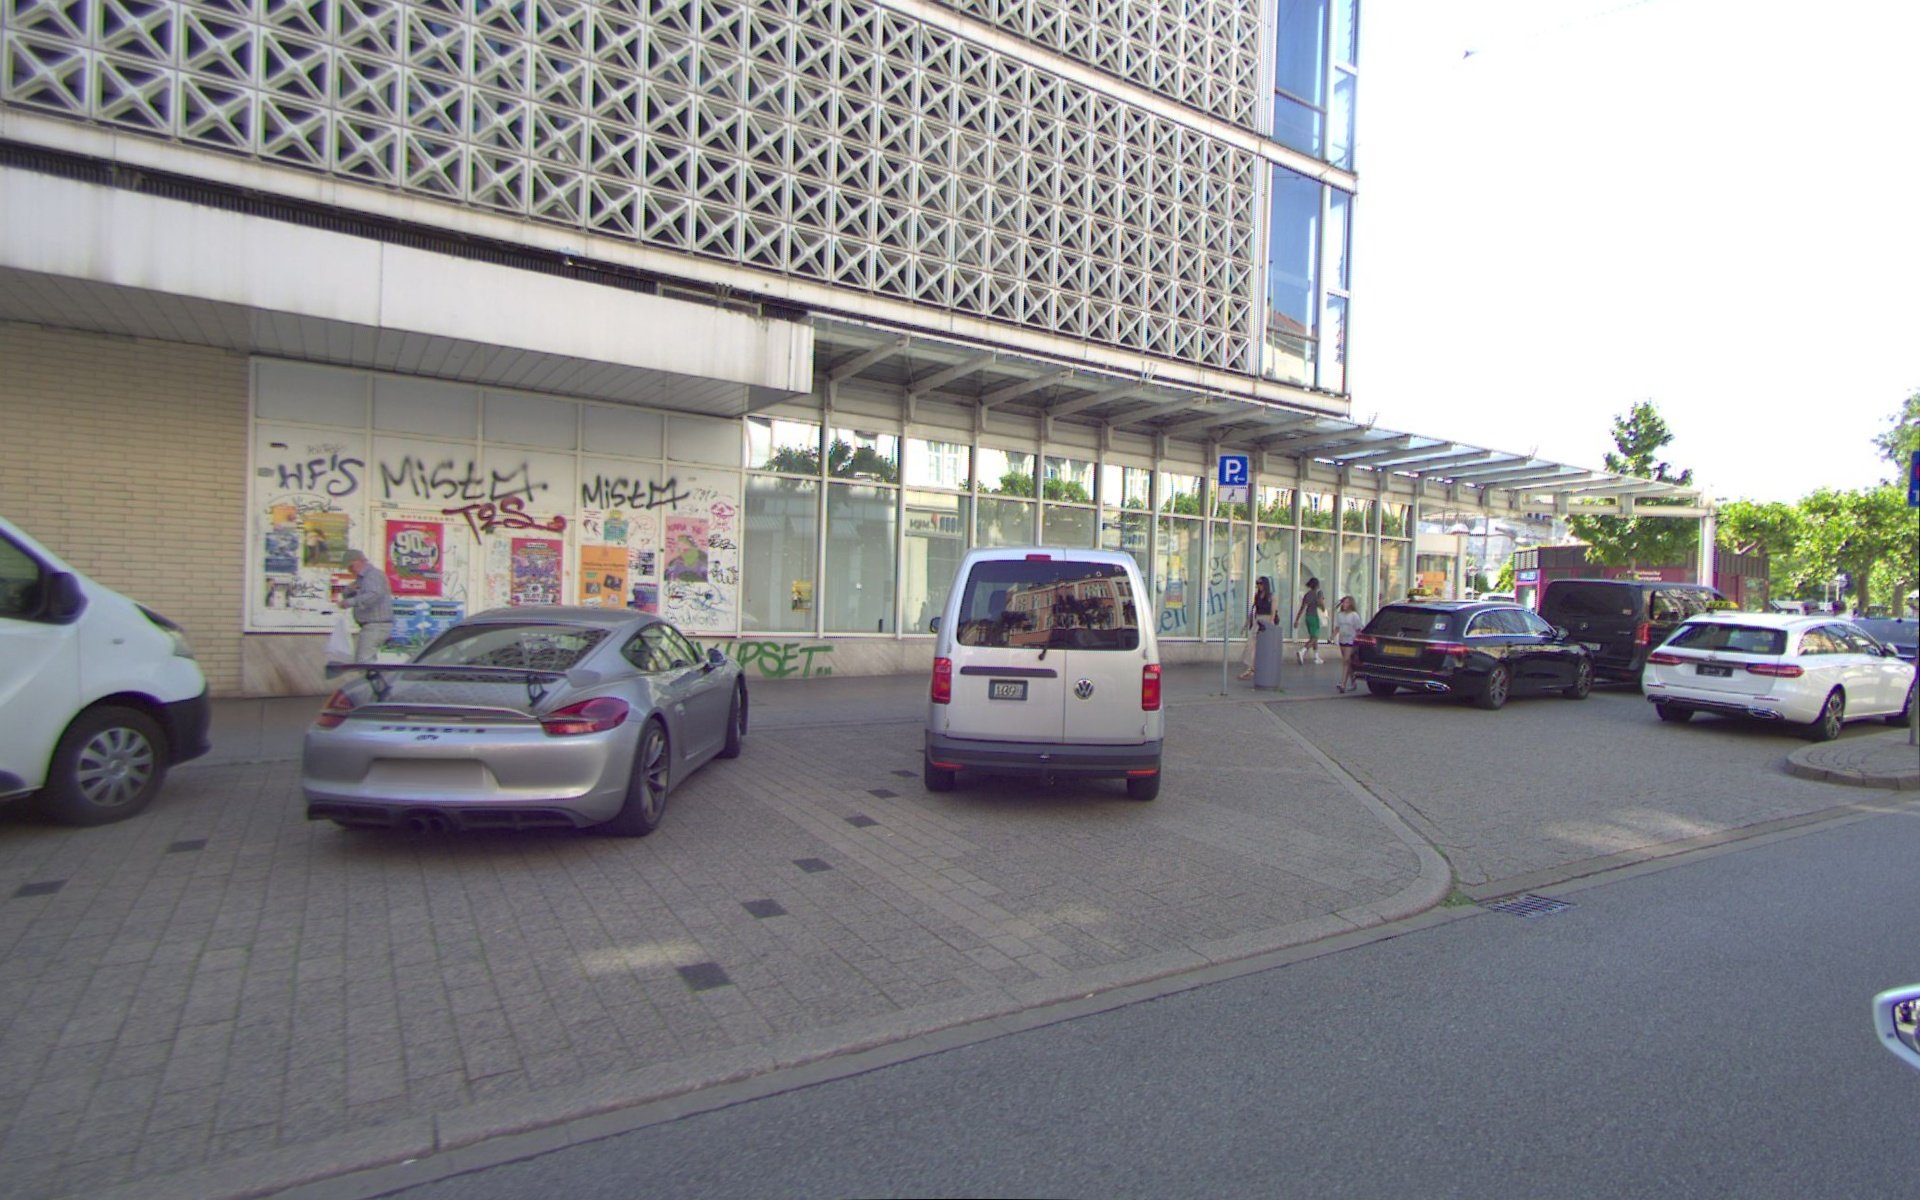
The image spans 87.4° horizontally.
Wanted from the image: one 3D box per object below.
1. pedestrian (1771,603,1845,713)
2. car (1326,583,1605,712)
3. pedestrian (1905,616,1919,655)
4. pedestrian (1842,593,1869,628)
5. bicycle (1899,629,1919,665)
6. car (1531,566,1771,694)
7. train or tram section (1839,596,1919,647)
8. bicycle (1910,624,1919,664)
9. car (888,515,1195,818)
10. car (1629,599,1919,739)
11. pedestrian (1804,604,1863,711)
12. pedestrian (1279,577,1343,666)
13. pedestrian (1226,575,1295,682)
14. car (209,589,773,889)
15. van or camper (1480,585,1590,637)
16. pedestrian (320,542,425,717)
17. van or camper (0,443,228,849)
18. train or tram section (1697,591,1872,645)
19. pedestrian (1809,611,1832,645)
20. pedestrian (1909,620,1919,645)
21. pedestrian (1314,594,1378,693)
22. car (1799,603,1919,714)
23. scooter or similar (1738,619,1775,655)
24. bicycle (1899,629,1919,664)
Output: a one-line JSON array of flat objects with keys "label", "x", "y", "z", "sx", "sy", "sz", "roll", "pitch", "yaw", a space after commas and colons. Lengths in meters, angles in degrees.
[{"label": "pedestrian", "x": 14.397, "y": 0.965, "z": 17.072, "sx": 0.679, "sy": 1.816, "sz": 0.620, "roll": 2, "pitch": 1, "yaw": 8}, {"label": "car", "x": 7.683, "y": 0.656, "z": 15.135, "sx": 4.359, "sy": 1.632, "sz": 1.979, "roll": 2, "pitch": 1, "yaw": -37}, {"label": "pedestrian", "x": 44.232, "y": 1.659, "z": 46.403, "sx": 0.598, "sy": 1.762, "sz": 0.574, "roll": 2, "pitch": 1, "yaw": -26}, {"label": "pedestrian", "x": 46.452, "y": 0.555, "z": 52.103, "sx": 0.788, "sy": 1.772, "sz": 0.606, "roll": 3, "pitch": 0, "yaw": 0}, {"label": "bicycle", "x": 31.618, "y": 1.555, "z": 32.466, "sx": 0.557, "sy": 1.120, "sz": 1.770, "roll": 1, "pitch": 1, "yaw": -34}, {"label": "car", "x": 12.443, "y": 0.500, "z": 18.013, "sx": 4.633, "sy": 2.040, "sz": 1.822, "roll": 1, "pitch": 1, "yaw": -32}, {"label": "train or tram section", "x": 76.106, "y": 1.787, "z": 76.473, "sx": 15.235, "sy": 3.726, "sz": 2.622, "roll": 2, "pitch": 1, "yaw": 4}, {"label": "bicycle", "x": 32.650, "y": 1.492, "z": 33.168, "sx": 0.557, "sy": 1.326, "sz": 1.770, "roll": 1, "pitch": 1, "yaw": -34}, {"label": "car", "x": 0.709, "y": 0.409, "z": 8.796, "sx": 1.969, "sy": 1.935, "sz": 4.448, "roll": 1, "pitch": 1, "yaw": 5}, {"label": "car", "x": 11.140, "y": 0.820, "z": 13.507, "sx": 4.686, "sy": 1.543, "sz": 1.789, "roll": 1, "pitch": 2, "yaw": -32}, {"label": "pedestrian", "x": 15.155, "y": 0.986, "z": 17.437, "sx": 0.528, "sy": 1.816, "sz": 0.533, "roll": 2, "pitch": 1, "yaw": 8}, {"label": "pedestrian", "x": 6.846, "y": 0.411, "z": 19.590, "sx": 1.094, "sy": 1.684, "sz": 0.593, "roll": 1, "pitch": 1, "yaw": -31}, {"label": "pedestrian", "x": 4.902, "y": 0.450, "z": 16.414, "sx": 0.634, "sy": 1.683, "sz": 0.782, "roll": 2, "pitch": 2, "yaw": -34}, {"label": "car", "x": -2.688, "y": 0.661, "z": 7.040, "sx": 1.932, "sy": 1.304, "sz": 4.297, "roll": 2, "pitch": 2, "yaw": 0}, {"label": "van or camper", "x": 23.440, "y": 0.455, "z": 40.892, "sx": 4.973, "sy": 1.944, "sz": 1.861, "roll": 2, "pitch": 0, "yaw": -34}, {"label": "pedestrian", "x": -5.857, "y": 0.278, "z": 10.015, "sx": 0.854, "sy": 1.658, "sz": 0.584, "roll": 1, "pitch": 2, "yaw": -34}, {"label": "van or camper", "x": -5.921, "y": 0.229, "z": 4.179, "sx": 1.959, "sy": 2.041, "sz": 4.662, "roll": 2, "pitch": 2, "yaw": 8}, {"label": "train or tram section", "x": 63.279, "y": 1.359, "z": 77.280, "sx": 10.781, "sy": 3.726, "sz": 2.622, "roll": 2, "pitch": 1, "yaw": 4}, {"label": "pedestrian", "x": 40.019, "y": 1.295, "z": 46.725, "sx": 0.598, "sy": 1.553, "sz": 0.574, "roll": 2, "pitch": 1, "yaw": -26}, {"label": "pedestrian", "x": 50.210, "y": 1.696, "z": 52.629, "sx": 0.601, "sy": 1.279, "sz": 0.610, "roll": 2, "pitch": 1, "yaw": 37}, {"label": "pedestrian", "x": 5.883, "y": 0.653, "z": 15.319, "sx": 0.635, "sy": 1.456, "sz": 0.589, "roll": 2, "pitch": 1, "yaw": -34}, {"label": "car", "x": 15.920, "y": 0.918, "z": 16.678, "sx": 4.659, "sy": 1.621, "sz": 1.750, "roll": 1, "pitch": 1, "yaw": -33}, {"label": "scooter or similar", "x": 28.415, "y": 1.322, "z": 35.838, "sx": 1.280, "sy": 1.230, "sz": 0.264, "roll": 2, "pitch": 1, "yaw": -13}, {"label": "bicycle", "x": 32.114, "y": 1.568, "z": 32.962, "sx": 0.557, "sy": 1.147, "sz": 1.770, "roll": 1, "pitch": 1, "yaw": -34}]
